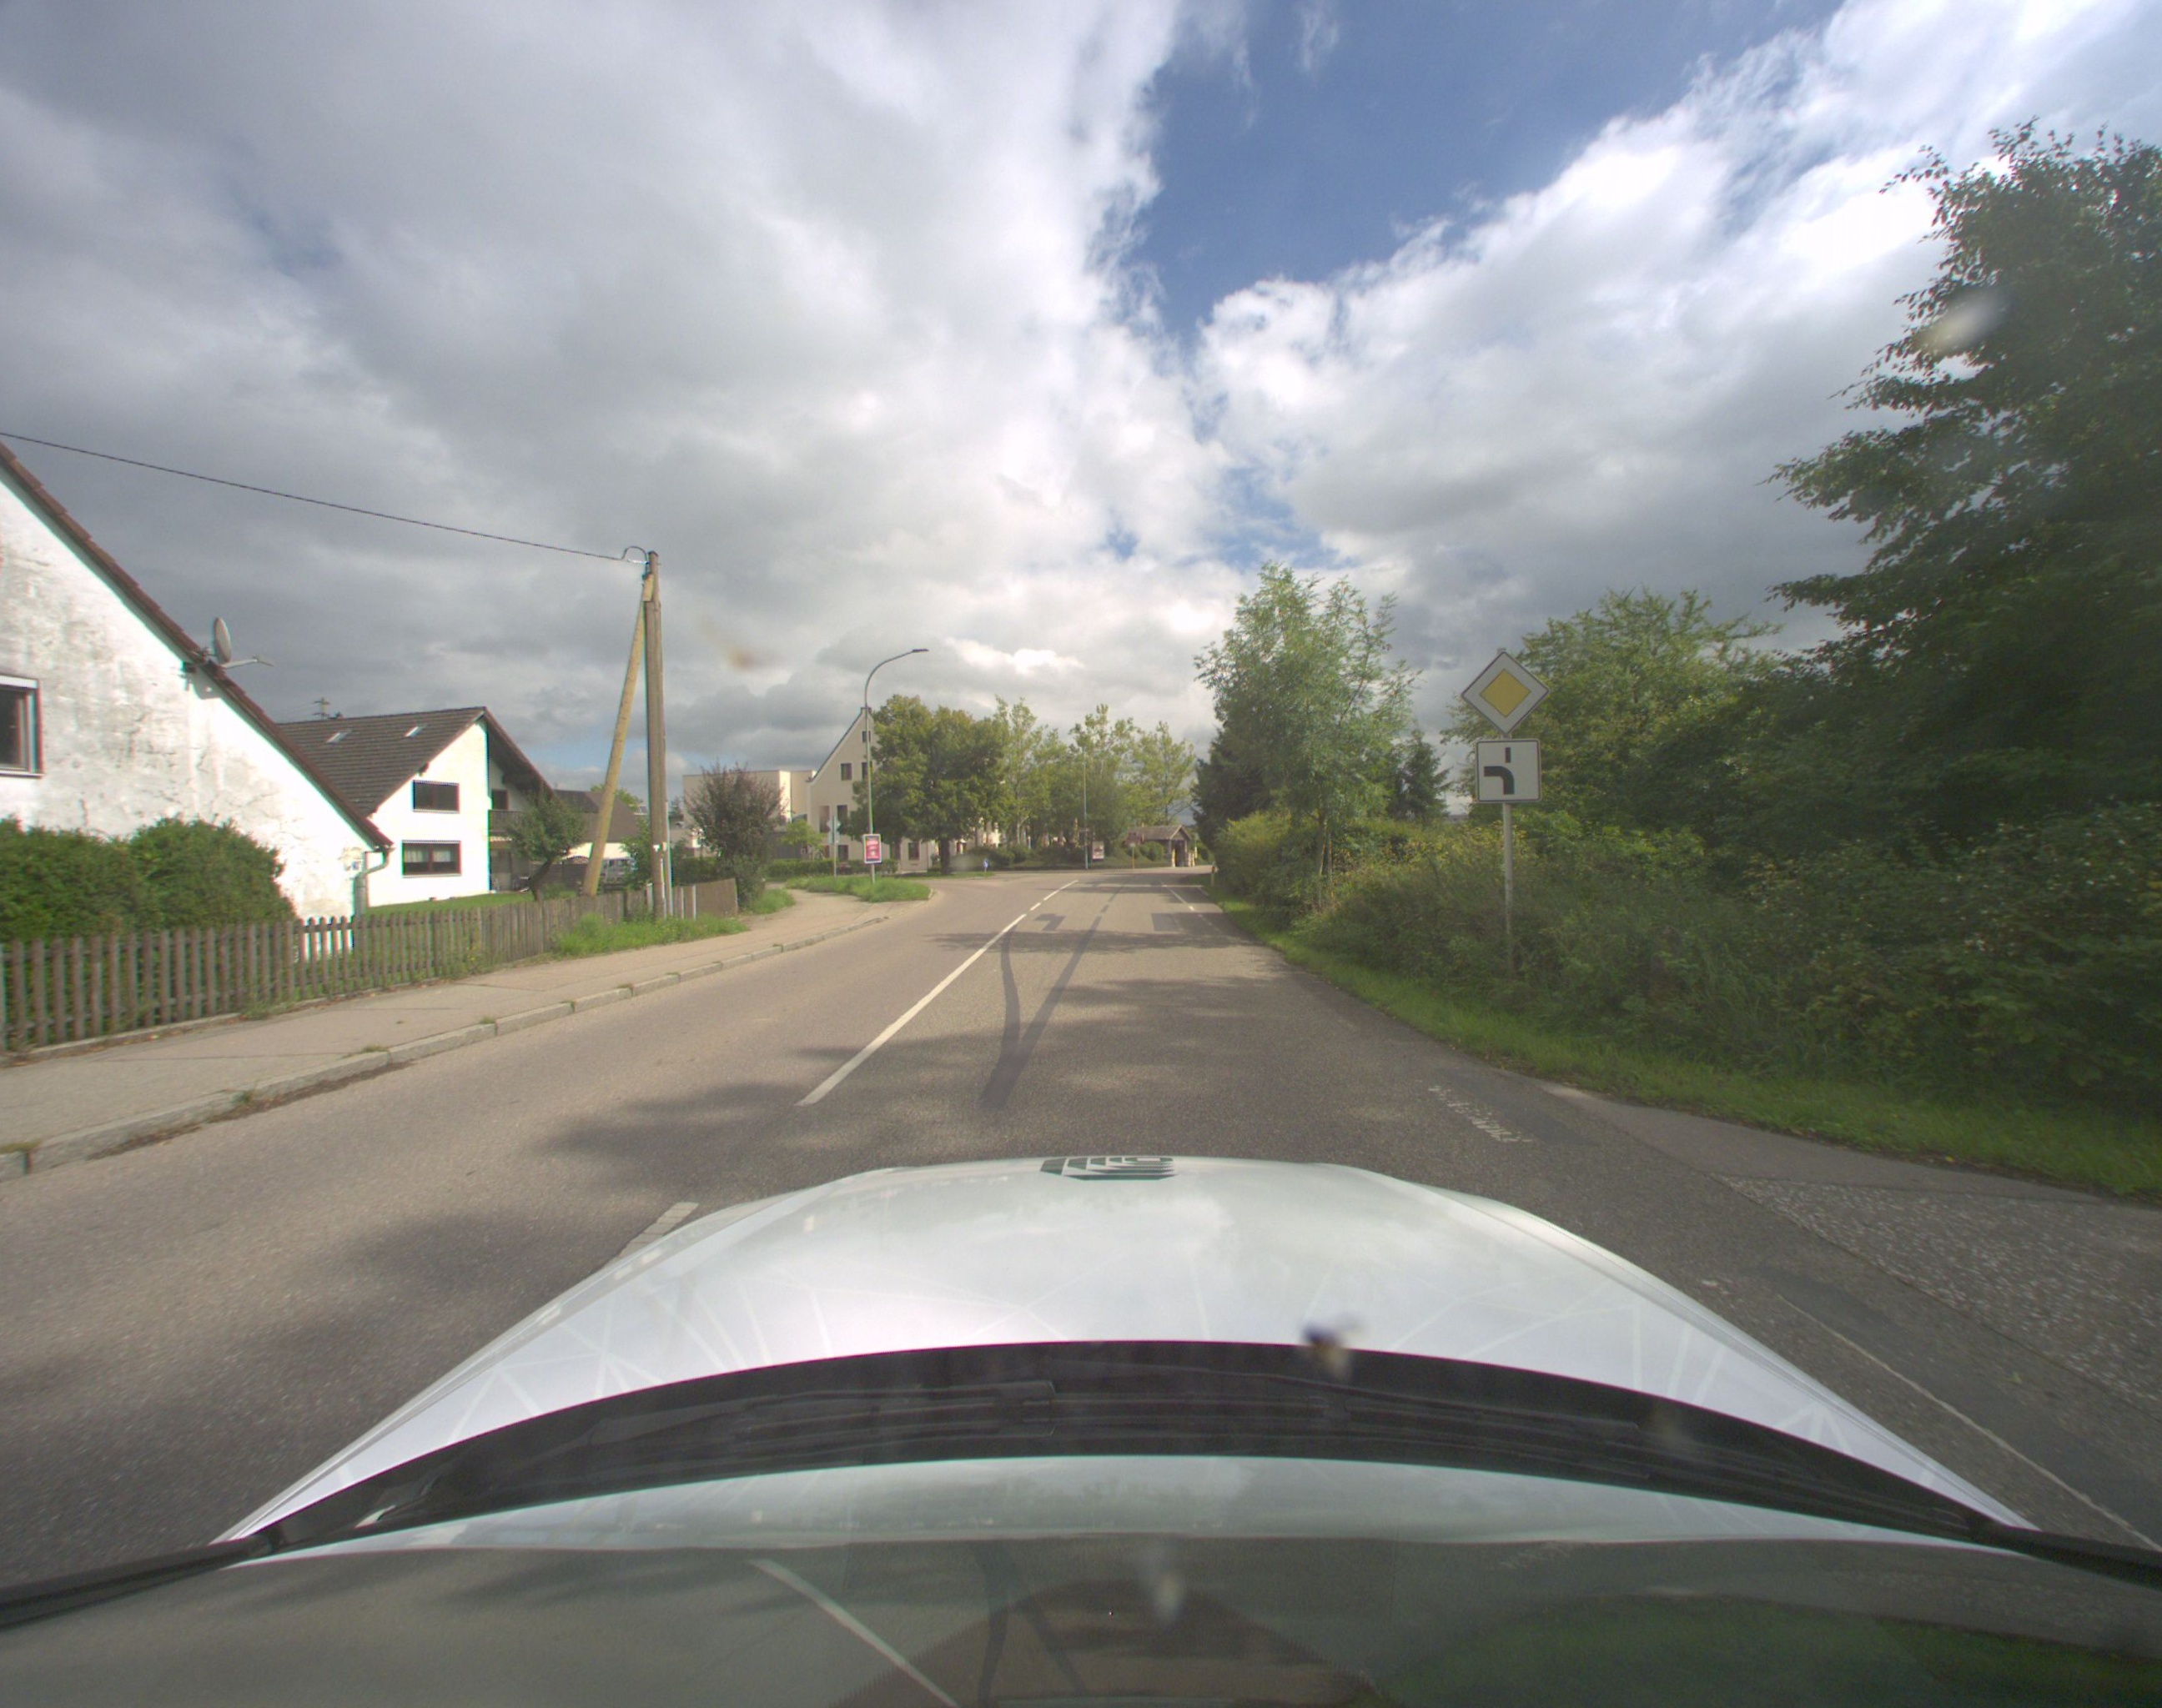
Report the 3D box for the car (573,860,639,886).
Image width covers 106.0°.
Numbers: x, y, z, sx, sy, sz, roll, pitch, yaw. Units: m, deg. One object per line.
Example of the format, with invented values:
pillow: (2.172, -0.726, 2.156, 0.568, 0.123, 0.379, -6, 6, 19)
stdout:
car: (-41.020, 1.613, 70.424, 1.979, 2.013, 4.919, -2, 0, 14)
